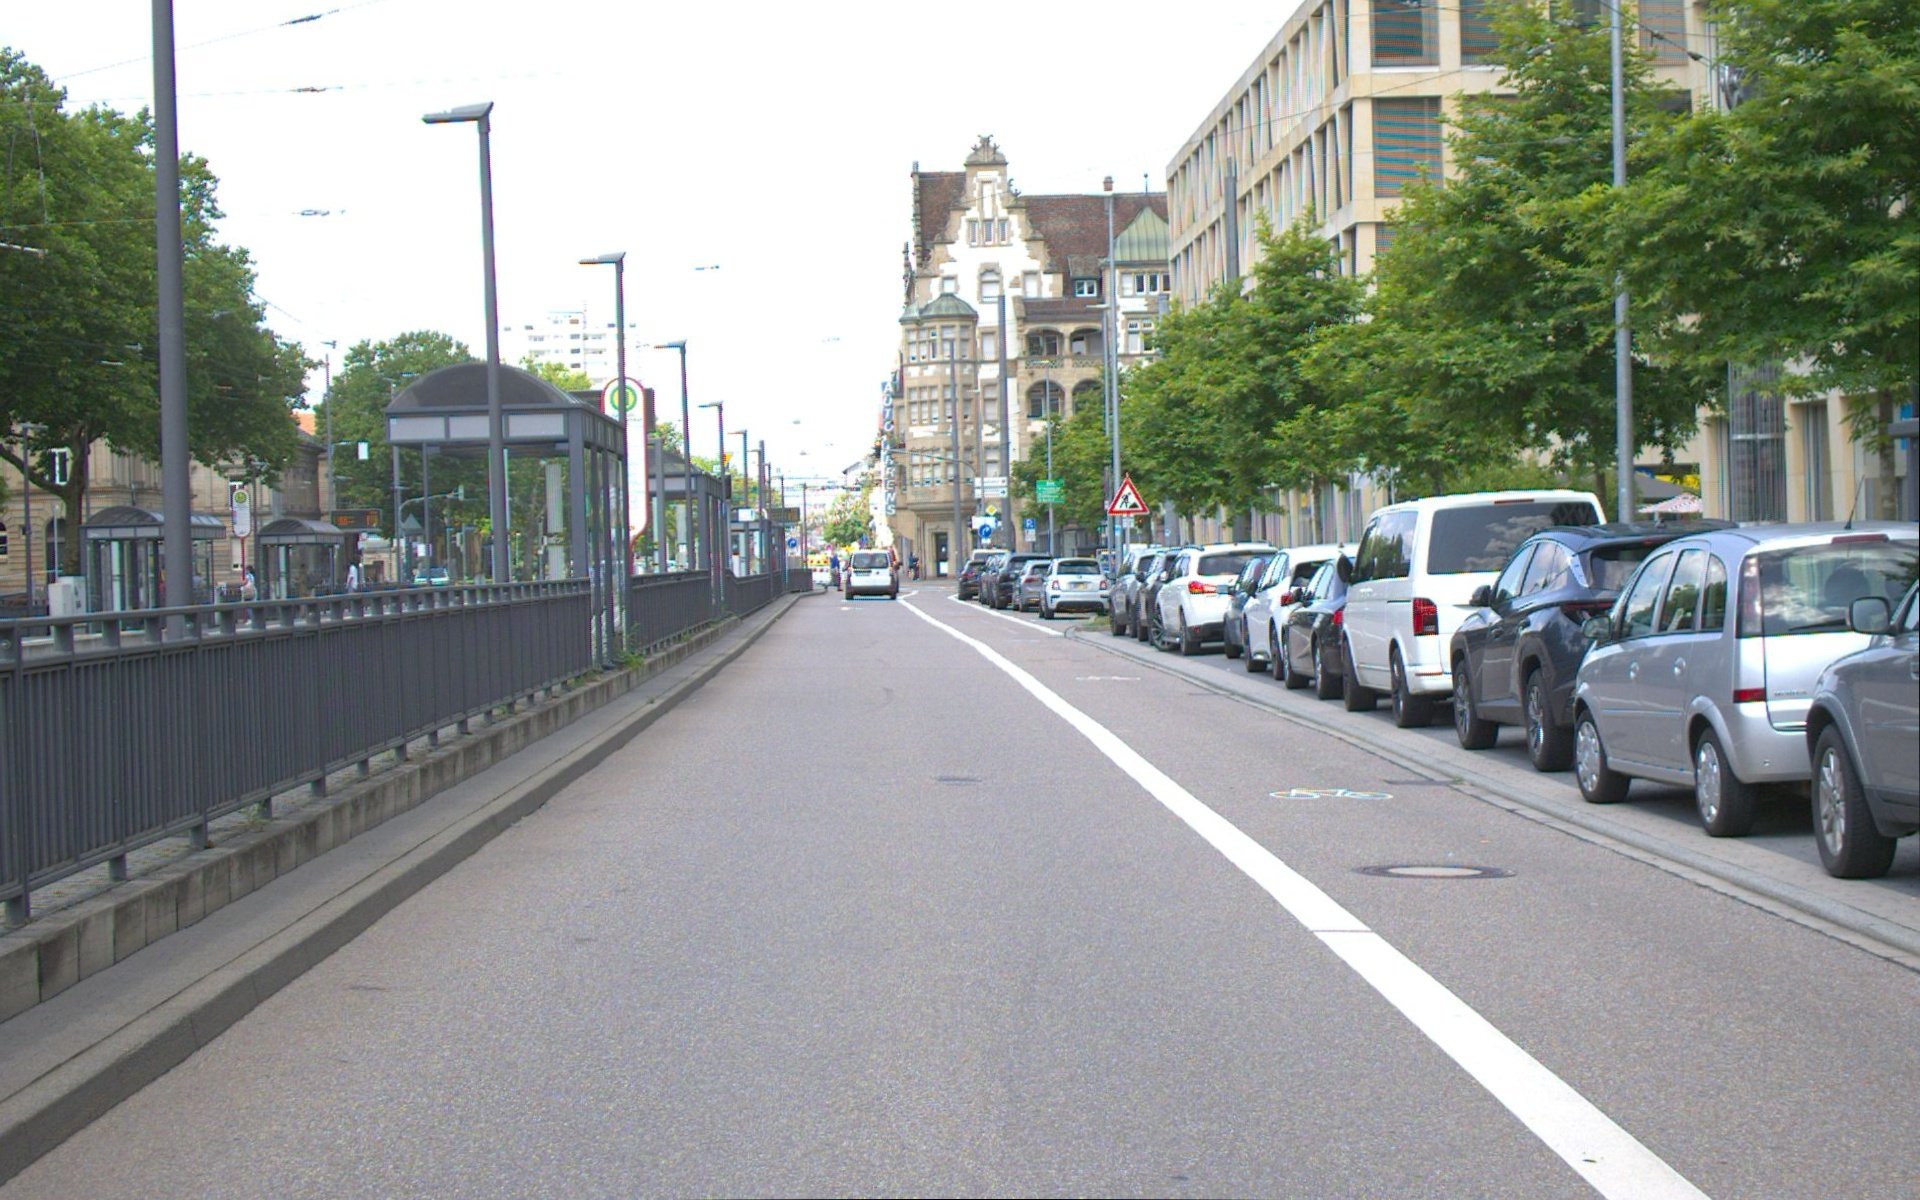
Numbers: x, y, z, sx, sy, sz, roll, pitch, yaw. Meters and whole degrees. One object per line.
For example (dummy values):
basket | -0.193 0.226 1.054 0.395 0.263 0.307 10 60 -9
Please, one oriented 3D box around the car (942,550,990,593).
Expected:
car | 0.198 -1.019 122.168 1.443 1.465 4.093 0 1 -4

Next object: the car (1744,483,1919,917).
car | 4.752 0.373 14.109 1.769 1.761 4.840 -2 1 -2

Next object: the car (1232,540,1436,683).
car | 4.431 0.093 41.312 1.792 1.524 4.159 -3 1 -2

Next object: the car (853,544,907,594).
car | -2.917 -1.137 124.595 1.868 1.740 4.001 -1 1 -2

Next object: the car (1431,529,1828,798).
car | 4.623 0.359 24.397 1.721 1.635 4.528 -3 1 -2

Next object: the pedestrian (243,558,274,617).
pedestrian | -18.383 -0.337 90.102 0.701 1.507 0.803 -3 1 -10

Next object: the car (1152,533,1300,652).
car | 3.933 -0.148 51.428 1.685 1.600 4.152 -3 1 -2

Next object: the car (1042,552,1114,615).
car | 2.857 -0.416 84.053 1.591 1.455 3.613 -1 1 -1

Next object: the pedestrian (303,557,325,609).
pedestrian | -19.428 -0.509 103.405 0.500 1.553 0.643 -2 1 -1

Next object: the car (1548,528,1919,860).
car | 4.572 0.435 19.302 1.721 1.614 3.860 -2 1 -2

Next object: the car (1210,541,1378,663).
car | 4.454 -0.009 46.329 1.685 1.452 3.951 -3 1 -2

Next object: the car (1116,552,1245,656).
car | 3.624 0.038 56.984 1.685 1.542 3.927 -3 1 -2

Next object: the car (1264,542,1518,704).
car | 4.436 0.185 36.028 1.881 1.482 4.564 -3 1 -2

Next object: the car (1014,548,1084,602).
car | 2.455 -0.707 95.376 1.591 1.429 4.108 0 1 -4

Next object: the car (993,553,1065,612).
car | 2.006 -0.540 101.203 1.738 1.663 4.842 0 1 -4

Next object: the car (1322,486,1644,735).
car | 4.535 0.032 30.555 1.881 1.932 4.844 -3 1 -2
